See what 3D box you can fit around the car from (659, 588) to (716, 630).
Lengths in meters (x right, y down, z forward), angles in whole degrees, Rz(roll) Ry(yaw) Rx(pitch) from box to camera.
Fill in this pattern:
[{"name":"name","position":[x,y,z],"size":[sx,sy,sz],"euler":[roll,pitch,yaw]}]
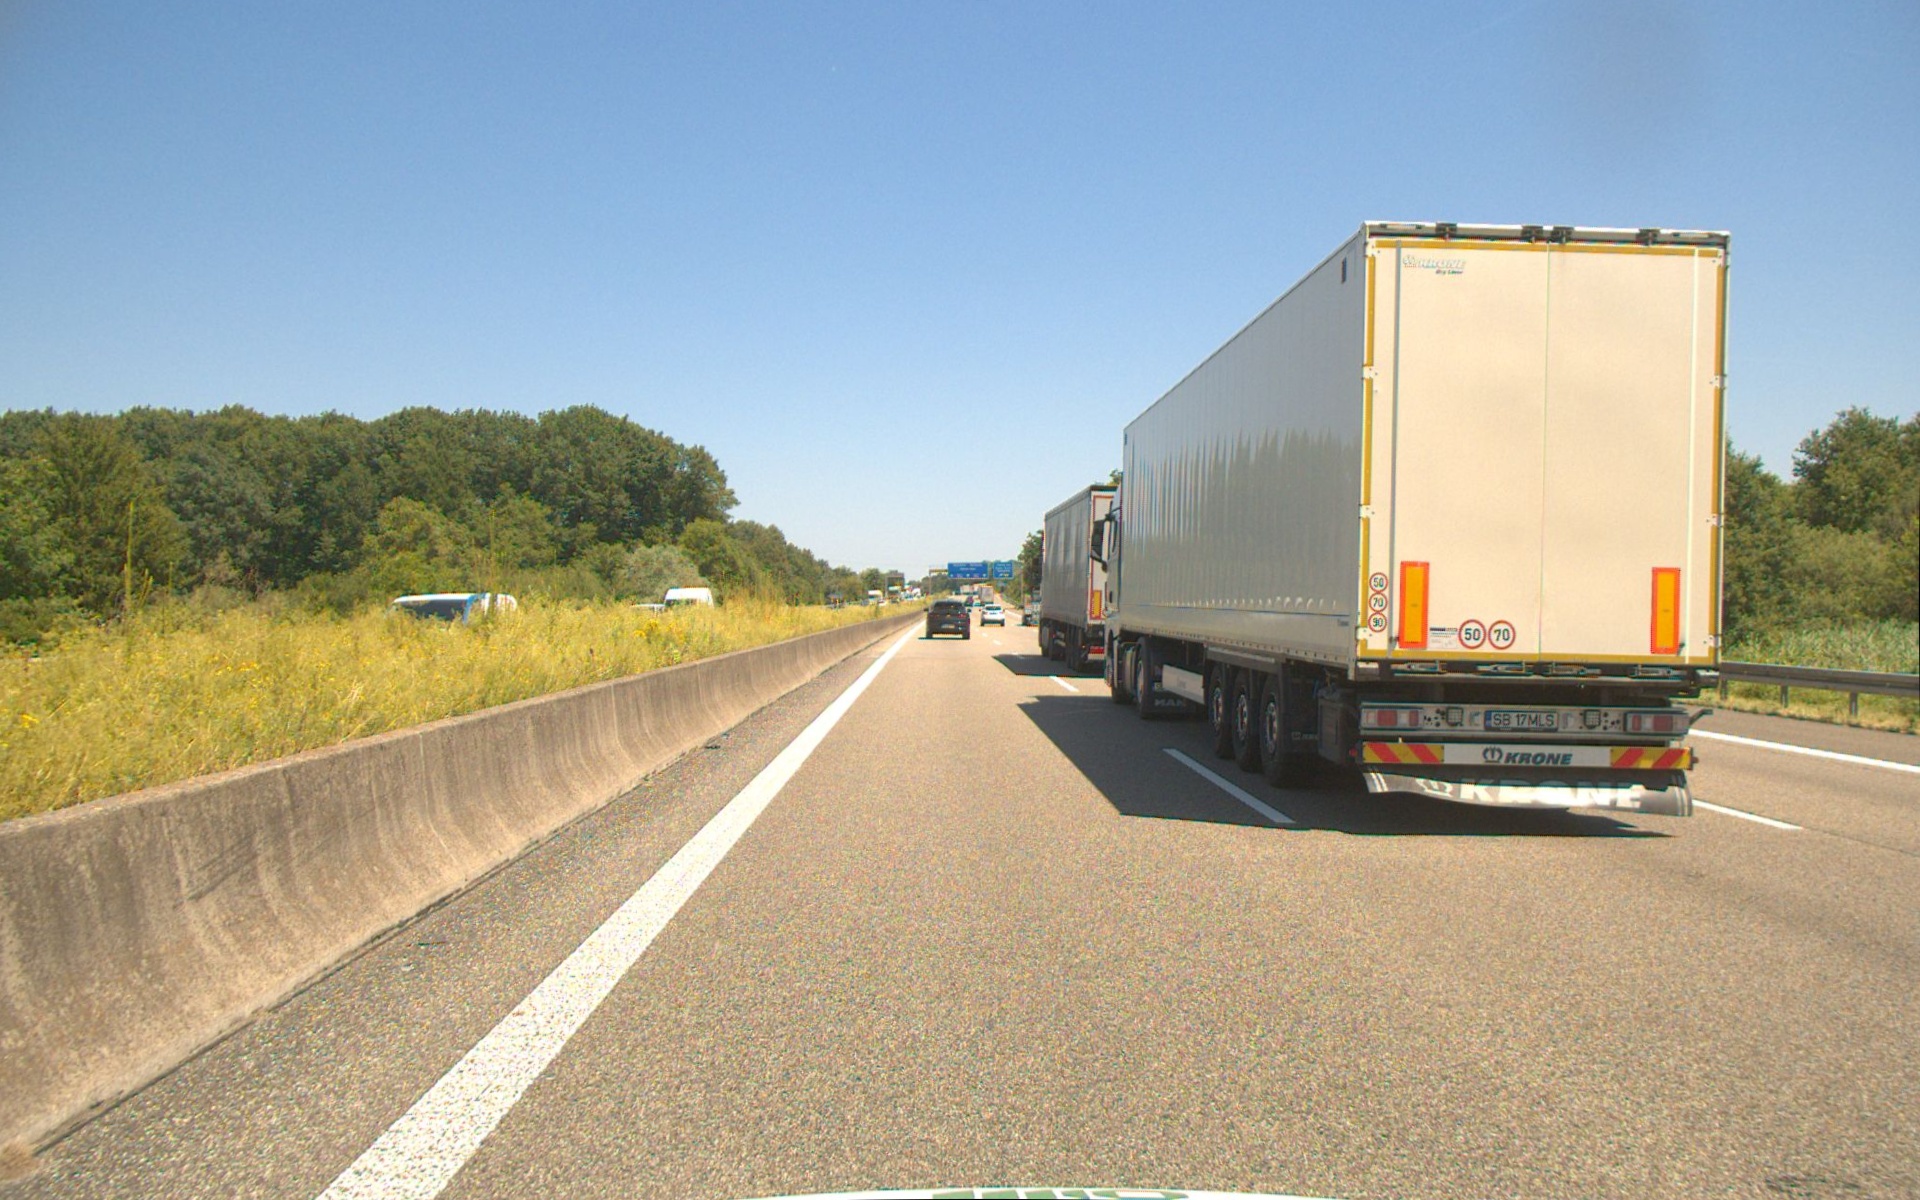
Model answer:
[{"name":"car","position":[-14.331,0.469,87.470],"size":[1.953,2.049,6.555],"euler":[2,0,-1]}]

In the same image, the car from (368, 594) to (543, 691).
[{"name":"car","position":[-9.892,0.772,32.884],"size":[1.953,1.750,5.116],"euler":[-1,0,-1]}]

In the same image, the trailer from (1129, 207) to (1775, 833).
[{"name":"trailer","position":[3.903,-0.514,17.214],"size":[2.738,4.106,12.564],"euler":[1,0,-1]}]

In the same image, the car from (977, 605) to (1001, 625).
[{"name":"car","position":[2.216,1.170,127.716],"size":[1.704,1.512,4.000],"euler":[1,0,0]}]

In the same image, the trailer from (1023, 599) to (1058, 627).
[{"name":"trailer","position":[6.274,0.970,129.582],"size":[2.371,2.049,6.032],"euler":[1,0,-1]}]

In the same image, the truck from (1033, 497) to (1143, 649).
[{"name":"truck","position":[3.693,-0.706,49.028],"size":[2.645,4.166,6.452],"euler":[1,-1,-1]}]

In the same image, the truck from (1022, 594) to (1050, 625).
[{"name":"truck","position":[6.153,0.755,134.938],"size":[1.953,2.415,4.643],"euler":[1,0,-1]}]

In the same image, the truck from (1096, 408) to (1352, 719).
[{"name":"truck","position":[3.746,-0.479,24.886],"size":[2.743,4.077,6.019],"euler":[1,0,-1]}]

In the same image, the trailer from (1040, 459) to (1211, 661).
[{"name":"trailer","position":[3.785,-0.756,41.658],"size":[2.652,4.139,14.743],"euler":[1,-1,-1]}]

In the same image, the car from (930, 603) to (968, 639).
[{"name":"car","position":[-0.519,0.913,74.095],"size":[1.626,1.576,3.782],"euler":[1,0,-2]}]
